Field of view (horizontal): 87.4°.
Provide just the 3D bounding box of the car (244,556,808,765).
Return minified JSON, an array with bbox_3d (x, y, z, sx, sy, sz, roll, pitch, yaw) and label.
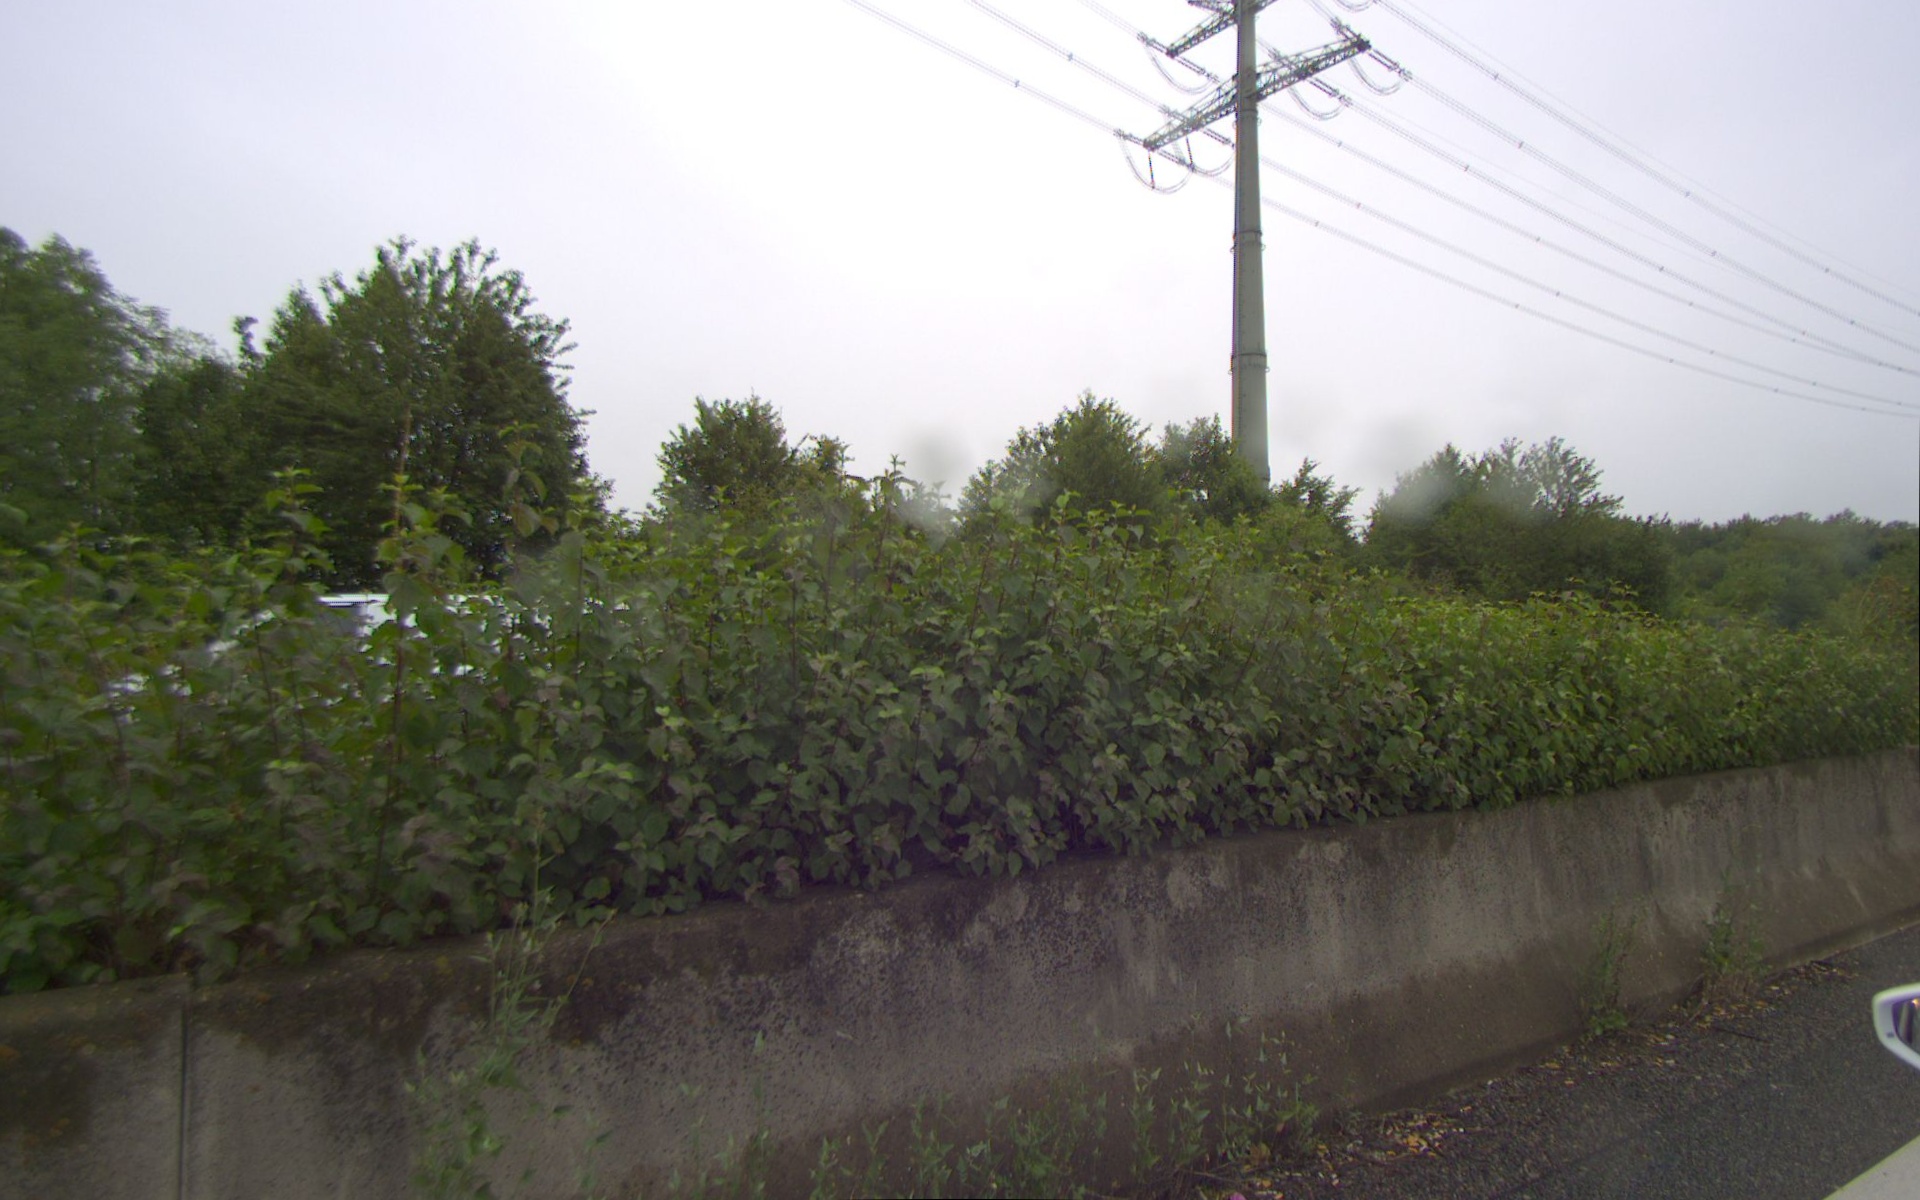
[{"bbox_3d":[-4.314,0.555,10.548,5.000,1.749,1.984,1,-1,-30],"label":"car"}]
